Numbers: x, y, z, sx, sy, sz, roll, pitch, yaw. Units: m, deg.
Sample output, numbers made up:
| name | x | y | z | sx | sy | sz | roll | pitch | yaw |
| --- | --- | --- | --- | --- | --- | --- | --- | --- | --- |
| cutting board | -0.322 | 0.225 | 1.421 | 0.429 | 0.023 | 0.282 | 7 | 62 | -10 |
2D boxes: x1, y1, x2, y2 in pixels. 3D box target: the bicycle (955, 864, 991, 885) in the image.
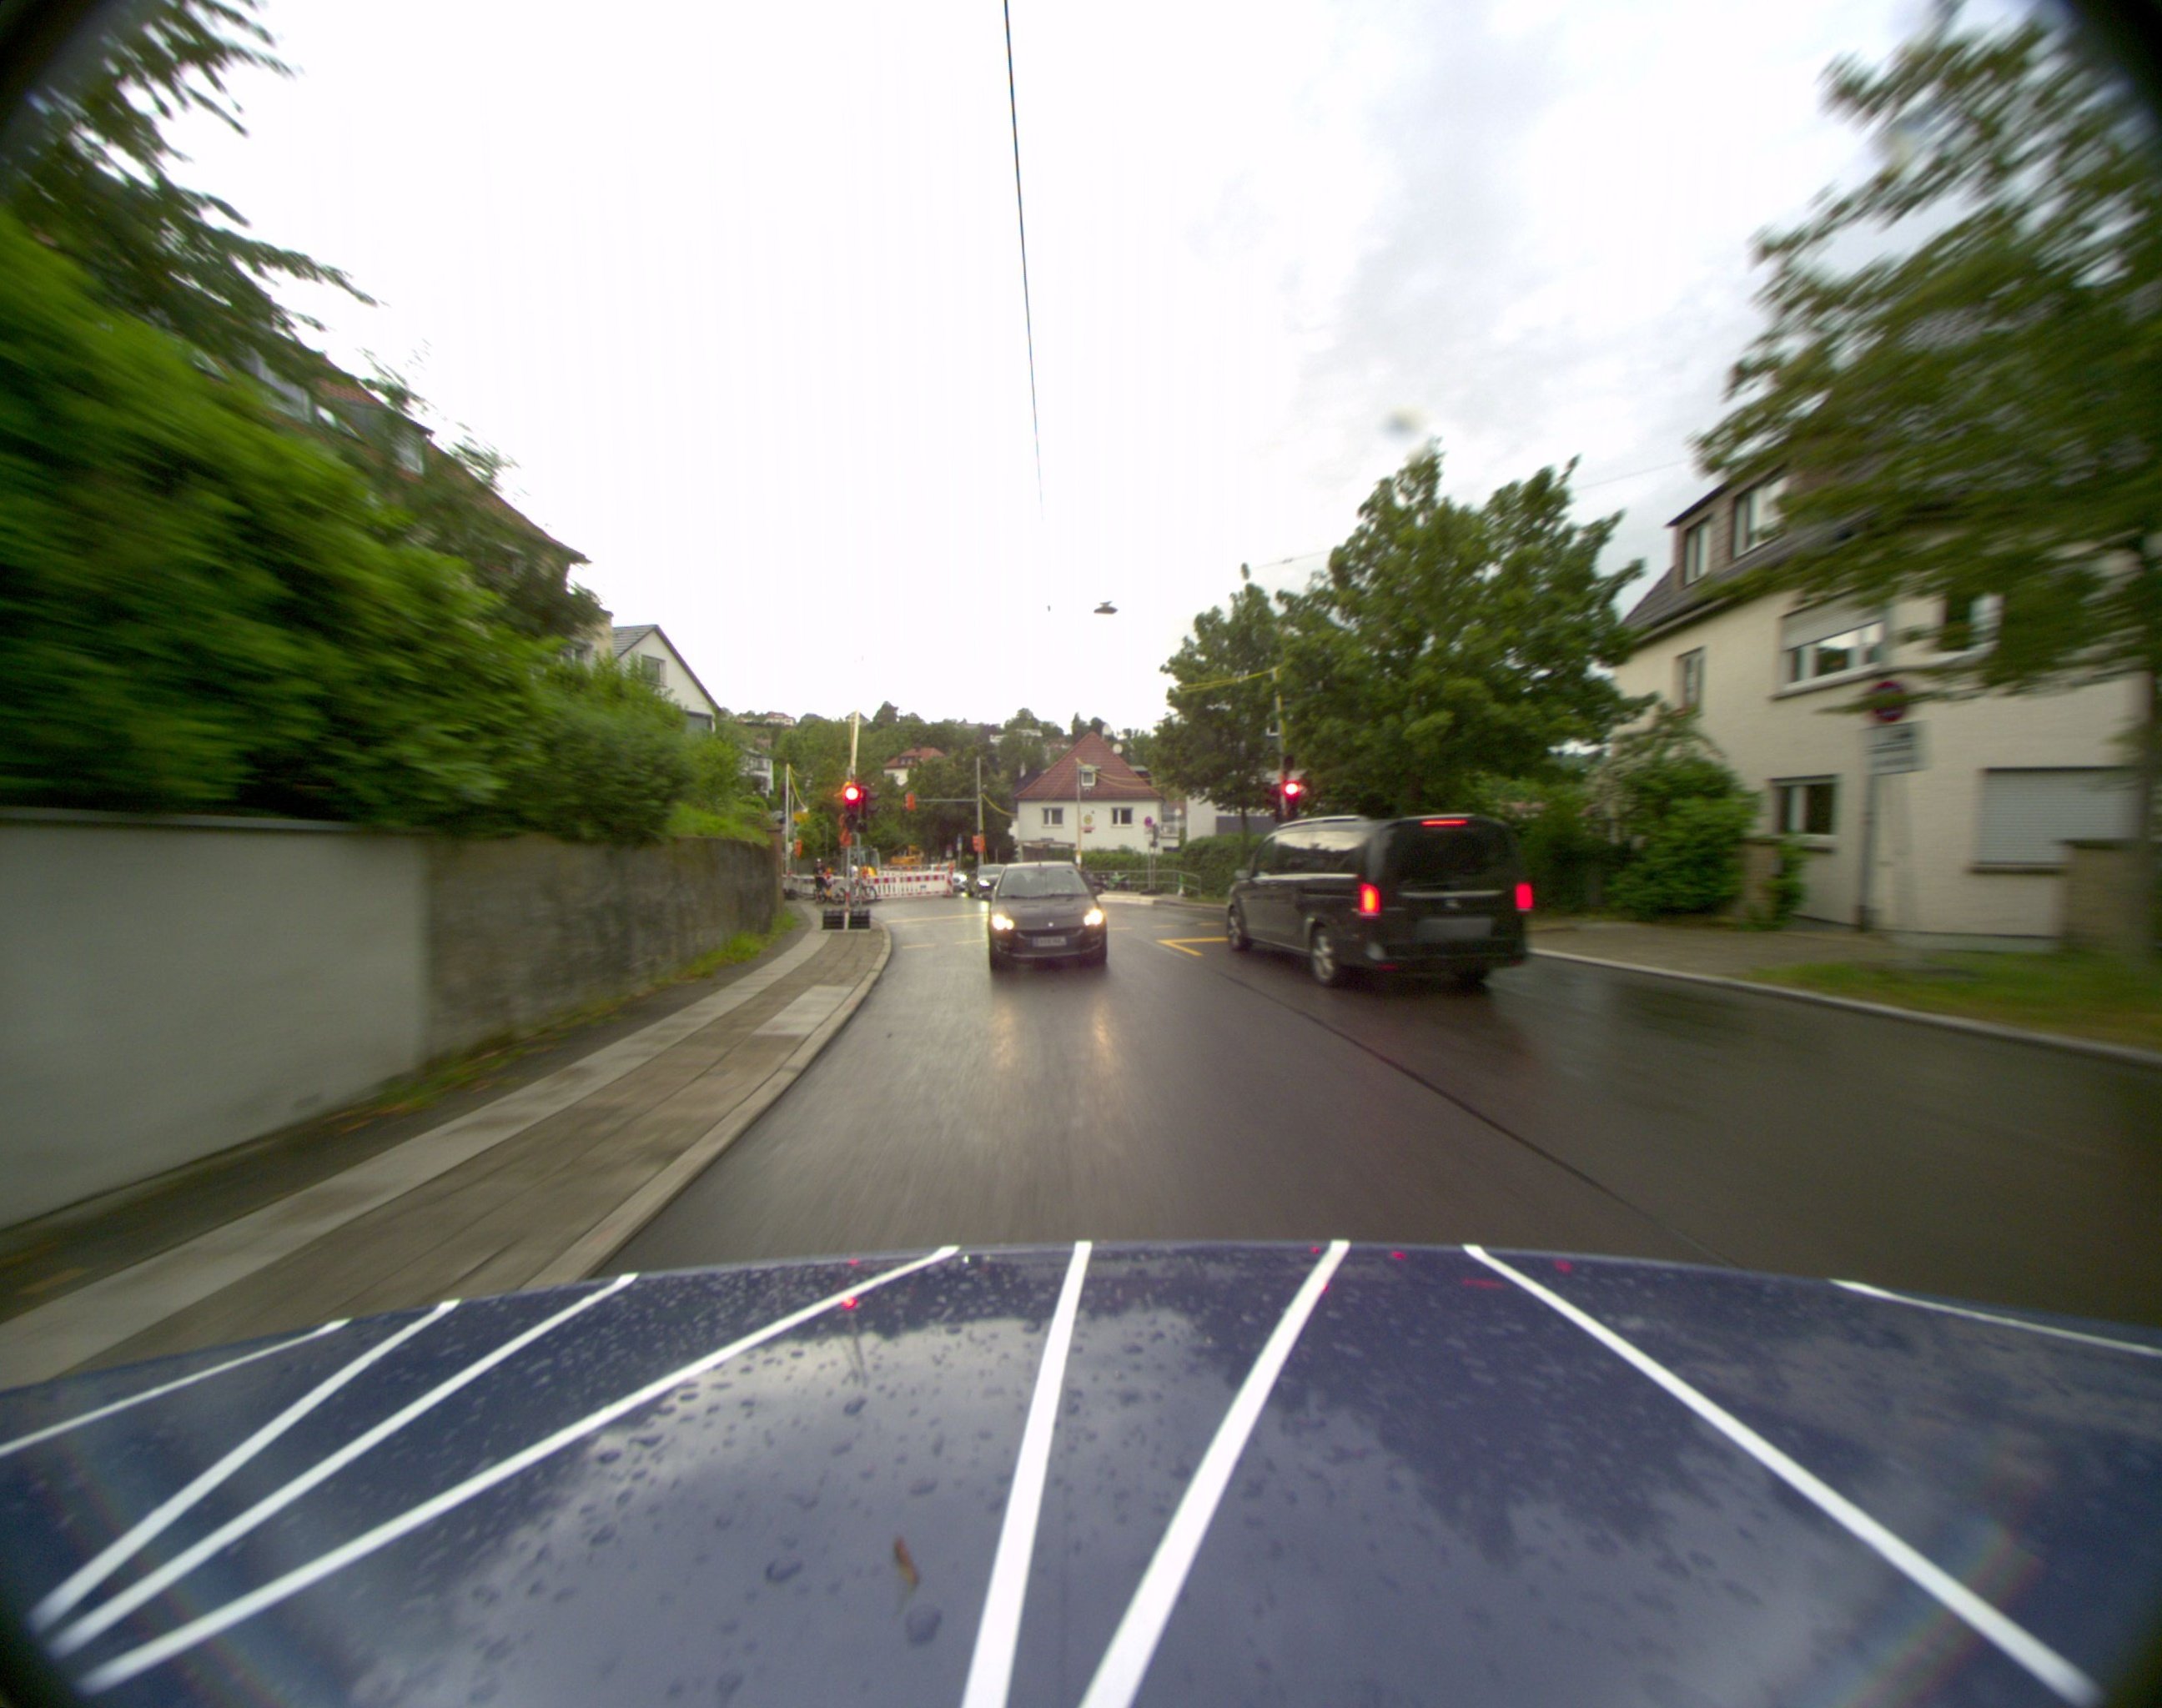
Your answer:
| name | x | y | z | sx | sy | sz | roll | pitch | yaw |
| --- | --- | --- | --- | --- | --- | --- | --- | --- | --- |
| bicycle | -7.299 | 1.372 | 51.455 | 2.240 | 1.354 | 0.807 | 1 | 0 | -29 |

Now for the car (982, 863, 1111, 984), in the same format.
| name | x | y | z | sx | sy | sz | roll | pitch | yaw |
| --- | --- | --- | --- | --- | --- | --- | --- | --- | --- |
| car | -0.706 | 0.934 | 12.217 | 1.675 | 1.457 | 4.712 | 0 | 1 | -7 |

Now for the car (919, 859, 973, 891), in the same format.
| name | x | y | z | sx | sy | sz | roll | pitch | yaw |
| --- | --- | --- | --- | --- | --- | --- | --- | --- | --- |
| car | -8.148 | 1.207 | 45.435 | 2.004 | 1.699 | 4.563 | 0 | 1 | -26 |

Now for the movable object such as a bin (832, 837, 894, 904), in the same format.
| name | x | y | z | sx | sy | sz | roll | pitch | yaw |
| --- | --- | --- | --- | --- | --- | --- | --- | --- | --- |
| movable object such as a bin | -10.208 | 0.756 | 35.203 | 2.095 | 2.821 | 5.667 | -1 | -1 | -22 |

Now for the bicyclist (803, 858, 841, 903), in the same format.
| name | x | y | z | sx | sy | sz | roll | pitch | yaw |
| --- | --- | --- | --- | --- | --- | --- | --- | --- | --- |
| bicyclist | -10.289 | 1.036 | 30.213 | 1.075 | 1.718 | 0.934 | -1 | 1 | 12 |

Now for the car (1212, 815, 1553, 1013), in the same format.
| name | x | y | z | sx | sy | sz | roll | pitch | yaw |
| --- | --- | --- | --- | --- | --- | --- | --- | --- | --- |
| car | 3.364 | 0.566 | 9.864 | 1.902 | 1.878 | 5.150 | 0 | 0 | -6 |

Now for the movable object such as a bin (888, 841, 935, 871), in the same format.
| name | x | y | z | sx | sy | sz | roll | pitch | yaw |
| --- | --- | --- | --- | --- | --- | --- | --- | --- | --- |
| movable object such as a bin | -22.392 | 0.258 | 100.999 | 3.326 | 3.817 | 7.210 | 1 | 1 | 13 |

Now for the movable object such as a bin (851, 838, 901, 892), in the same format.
| name | x | y | z | sx | sy | sz | roll | pitch | yaw |
| --- | --- | --- | --- | --- | --- | --- | --- | --- | --- |
| movable object such as a bin | -12.011 | 0.537 | 44.214 | 2.095 | 2.822 | 5.664 | -1 | 2 | -22 |

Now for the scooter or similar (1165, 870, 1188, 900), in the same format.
| name | x | y | z | sx | sy | sz | roll | pitch | yaw |
| --- | --- | --- | --- | --- | --- | --- | --- | --- | --- |
| scooter or similar | 3.583 | 1.160 | 28.540 | 0.325 | 1.074 | 1.093 | 1 | -1 | -25 |

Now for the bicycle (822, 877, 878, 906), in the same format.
| name | x | y | z | sx | sy | sz | roll | pitch | yaw |
| --- | --- | --- | --- | --- | --- | --- | --- | --- | --- |
| bicycle | -9.009 | 1.445 | 29.609 | 1.887 | 0.975 | 0.931 | -1 | 1 | -31 |

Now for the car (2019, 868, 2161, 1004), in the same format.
| name | x | y | z | sx | sy | sz | roll | pitch | yaw |
| --- | --- | --- | --- | --- | --- | --- | --- | --- | --- |
| car | 15.102 | 1.360 | 9.308 | 3.990 | 1.576 | 1.857 | 11 | 4 | 17 |

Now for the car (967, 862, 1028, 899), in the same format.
| name | x | y | z | sx | sy | sz | roll | pitch | yaw |
| --- | --- | --- | --- | --- | --- | --- | --- | --- | --- |
| car | -3.607 | 1.071 | 32.075 | 1.846 | 1.395 | 4.065 | 0 | 1 | -17 |

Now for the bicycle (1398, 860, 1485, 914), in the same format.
| name | x | y | z | sx | sy | sz | roll | pitch | yaw |
| --- | --- | --- | --- | --- | --- | --- | --- | --- | --- |
| bicycle | 9.076 | 0.815 | 19.240 | 0.492 | 1.264 | 2.270 | -3 | 0 | -20 |

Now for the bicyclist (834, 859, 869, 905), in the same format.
| name | x | y | z | sx | sy | sz | roll | pitch | yaw |
| --- | --- | --- | --- | --- | --- | --- | --- | --- | --- |
| bicyclist | -8.968 | 1.060 | 29.632 | 1.079 | 1.718 | 0.931 | -2 | 1 | -31 |

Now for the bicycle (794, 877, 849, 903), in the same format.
| name | x | y | z | sx | sy | sz | roll | pitch | yaw |
| --- | --- | --- | --- | --- | --- | --- | --- | --- | --- |
| bicycle | -10.333 | 1.420 | 30.235 | 1.826 | 0.975 | 0.934 | -1 | 1 | 12 |

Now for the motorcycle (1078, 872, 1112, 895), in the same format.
| name | x | y | z | sx | sy | sz | roll | pitch | yaw |
| --- | --- | --- | --- | --- | --- | --- | --- | --- | --- |
| motorcycle | 0.628 | 1.362 | 35.650 | 0.670 | 1.030 | 2.148 | 0 | -1 | -26 |

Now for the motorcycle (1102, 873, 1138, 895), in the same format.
| name | x | y | z | sx | sy | sz | roll | pitch | yaw |
| --- | --- | --- | --- | --- | --- | --- | --- | --- | --- |
| motorcycle | 1.695 | 1.321 | 33.461 | 0.670 | 0.928 | 2.006 | 0 | -1 | -26 |
